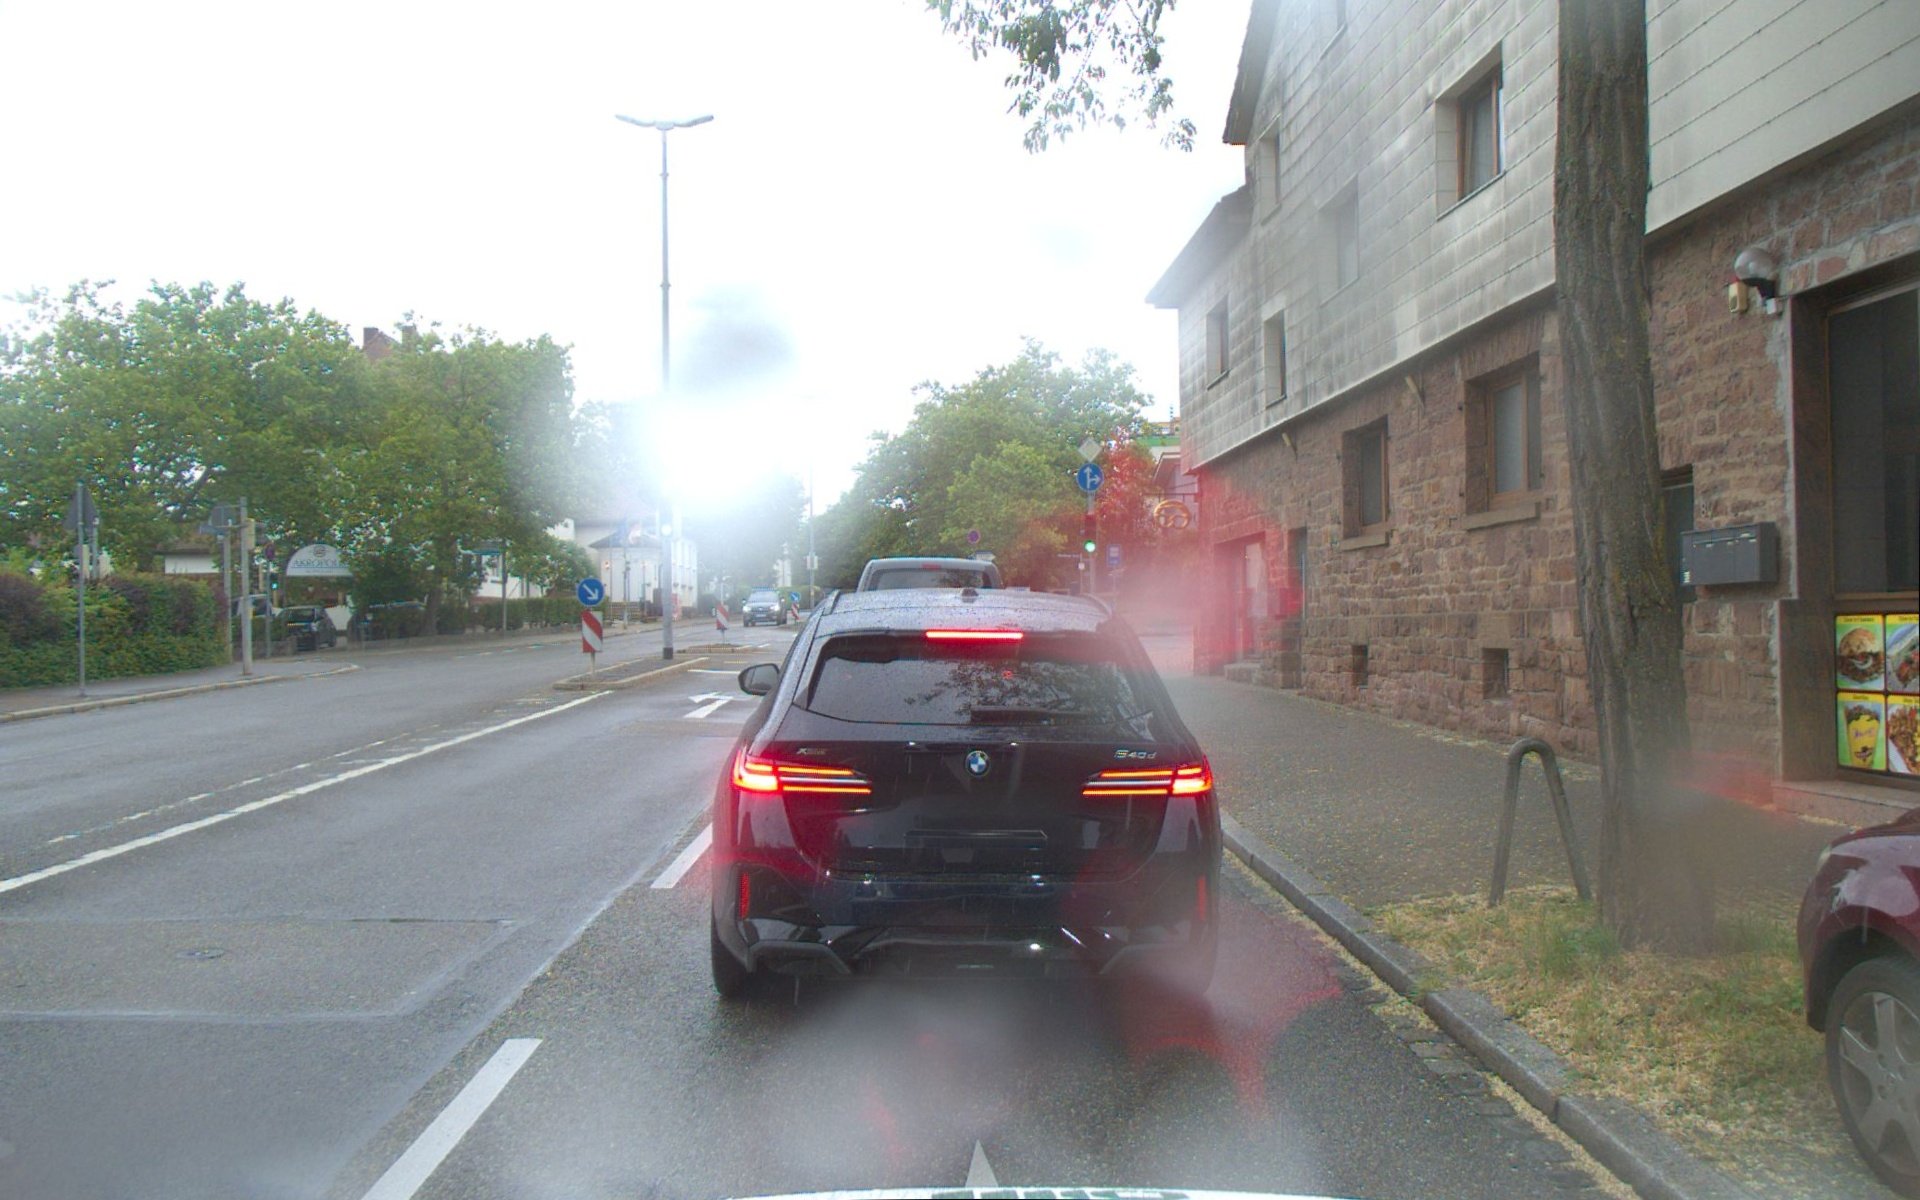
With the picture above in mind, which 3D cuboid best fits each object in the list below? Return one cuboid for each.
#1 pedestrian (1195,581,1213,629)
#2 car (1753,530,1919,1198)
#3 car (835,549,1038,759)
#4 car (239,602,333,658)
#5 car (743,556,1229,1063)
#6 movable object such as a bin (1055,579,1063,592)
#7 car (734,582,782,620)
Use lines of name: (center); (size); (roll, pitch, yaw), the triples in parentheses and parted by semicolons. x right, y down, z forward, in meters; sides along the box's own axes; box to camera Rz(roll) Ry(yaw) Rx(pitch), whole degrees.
pedestrian: (8.464, 0.189, 57.414); (0.588, 1.645, 0.526); (1, -1, 6)
car: (3.069, 0.580, 2.689); (1.578, 1.530, 3.753); (1, -2, -4)
car: (-0.324, 0.491, 16.588); (1.776, 1.840, 3.753); (1, 0, -4)
car: (-23.131, 0.987, 56.908); (1.772, 1.578, 4.000); (1, 4, -3)
car: (-0.022, 0.664, 6.911); (1.494, 1.561, 3.529); (1, 0, -4)
movable object such as a bin: (6.893, -0.992, 115.426); (0.440, 0.921, 0.463); (1, -1, 14)
car: (-9.184, 0.013, 75.461); (1.861, 1.604, 4.499); (-1, 1, -4)
